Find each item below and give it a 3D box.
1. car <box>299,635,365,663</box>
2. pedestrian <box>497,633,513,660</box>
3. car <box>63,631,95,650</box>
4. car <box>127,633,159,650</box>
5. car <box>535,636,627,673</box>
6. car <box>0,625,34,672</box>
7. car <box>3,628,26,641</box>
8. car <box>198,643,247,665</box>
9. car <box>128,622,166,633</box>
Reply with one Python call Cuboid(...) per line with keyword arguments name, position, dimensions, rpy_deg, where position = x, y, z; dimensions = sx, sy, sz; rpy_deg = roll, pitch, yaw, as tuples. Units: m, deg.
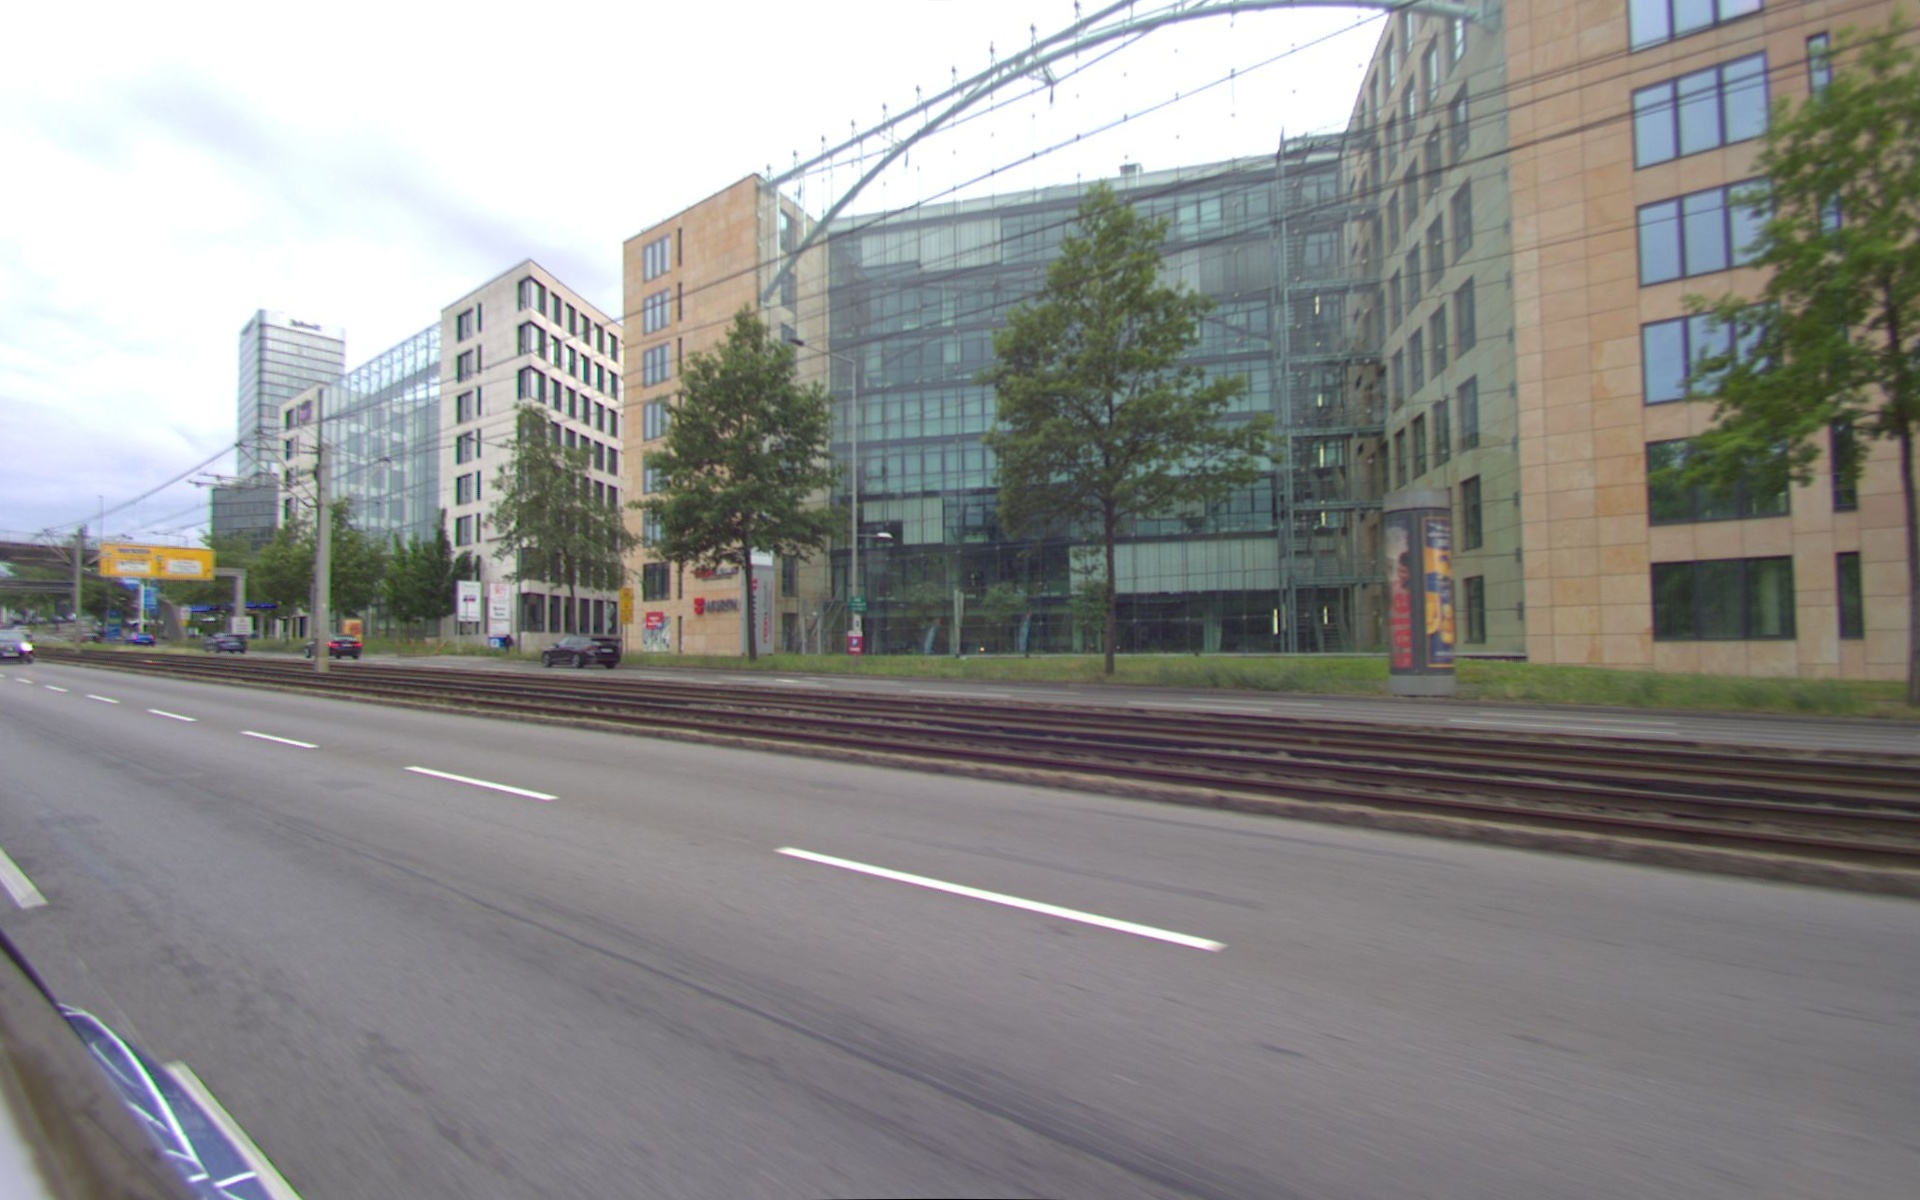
Cuboid(name="car", position=(-35.328, 2.750, 56.884), dimensions=(4.651, 1.497, 1.821), rpy_deg=(-2, -5, 41))
Cuboid(name="pedestrian", position=(-29.182, 2.982, 64.919), dimensions=(0.831, 1.644, 0.635), rpy_deg=(0, 0, 38))
Cuboid(name="car", position=(-78.816, 3.585, 90.523), dimensions=(4.200, 1.513, 1.753), rpy_deg=(1, 0, 43))
Cuboid(name="car", position=(-82.312, 4.170, 101.923), dimensions=(4.023, 1.465, 1.822), rpy_deg=(1, 0, 41))
Cuboid(name="car", position=(-16.582, 2.387, 44.211), dimensions=(4.428, 1.497, 1.821), rpy_deg=(-2, -5, 41))
Cuboid(name="car", position=(-42.365, 2.119, 44.671), dimensions=(4.376, 1.882, 1.770), rpy_deg=(1, 0, 42))
Cuboid(name="car", position=(-122.843, 4.450, 131.447), dimensions=(4.814, 1.545, 1.741), rpy_deg=(-2, -1, 41))
Cuboid(name="car", position=(-53.860, 3.950, 73.891), dimensions=(4.651, 1.497, 1.821), rpy_deg=(-2, -5, 41))
Cuboid(name="car", position=(-123.954, 4.152, 154.371), dimensions=(1.885, 1.515, 4.306), rpy_deg=(0, 0, 43))
